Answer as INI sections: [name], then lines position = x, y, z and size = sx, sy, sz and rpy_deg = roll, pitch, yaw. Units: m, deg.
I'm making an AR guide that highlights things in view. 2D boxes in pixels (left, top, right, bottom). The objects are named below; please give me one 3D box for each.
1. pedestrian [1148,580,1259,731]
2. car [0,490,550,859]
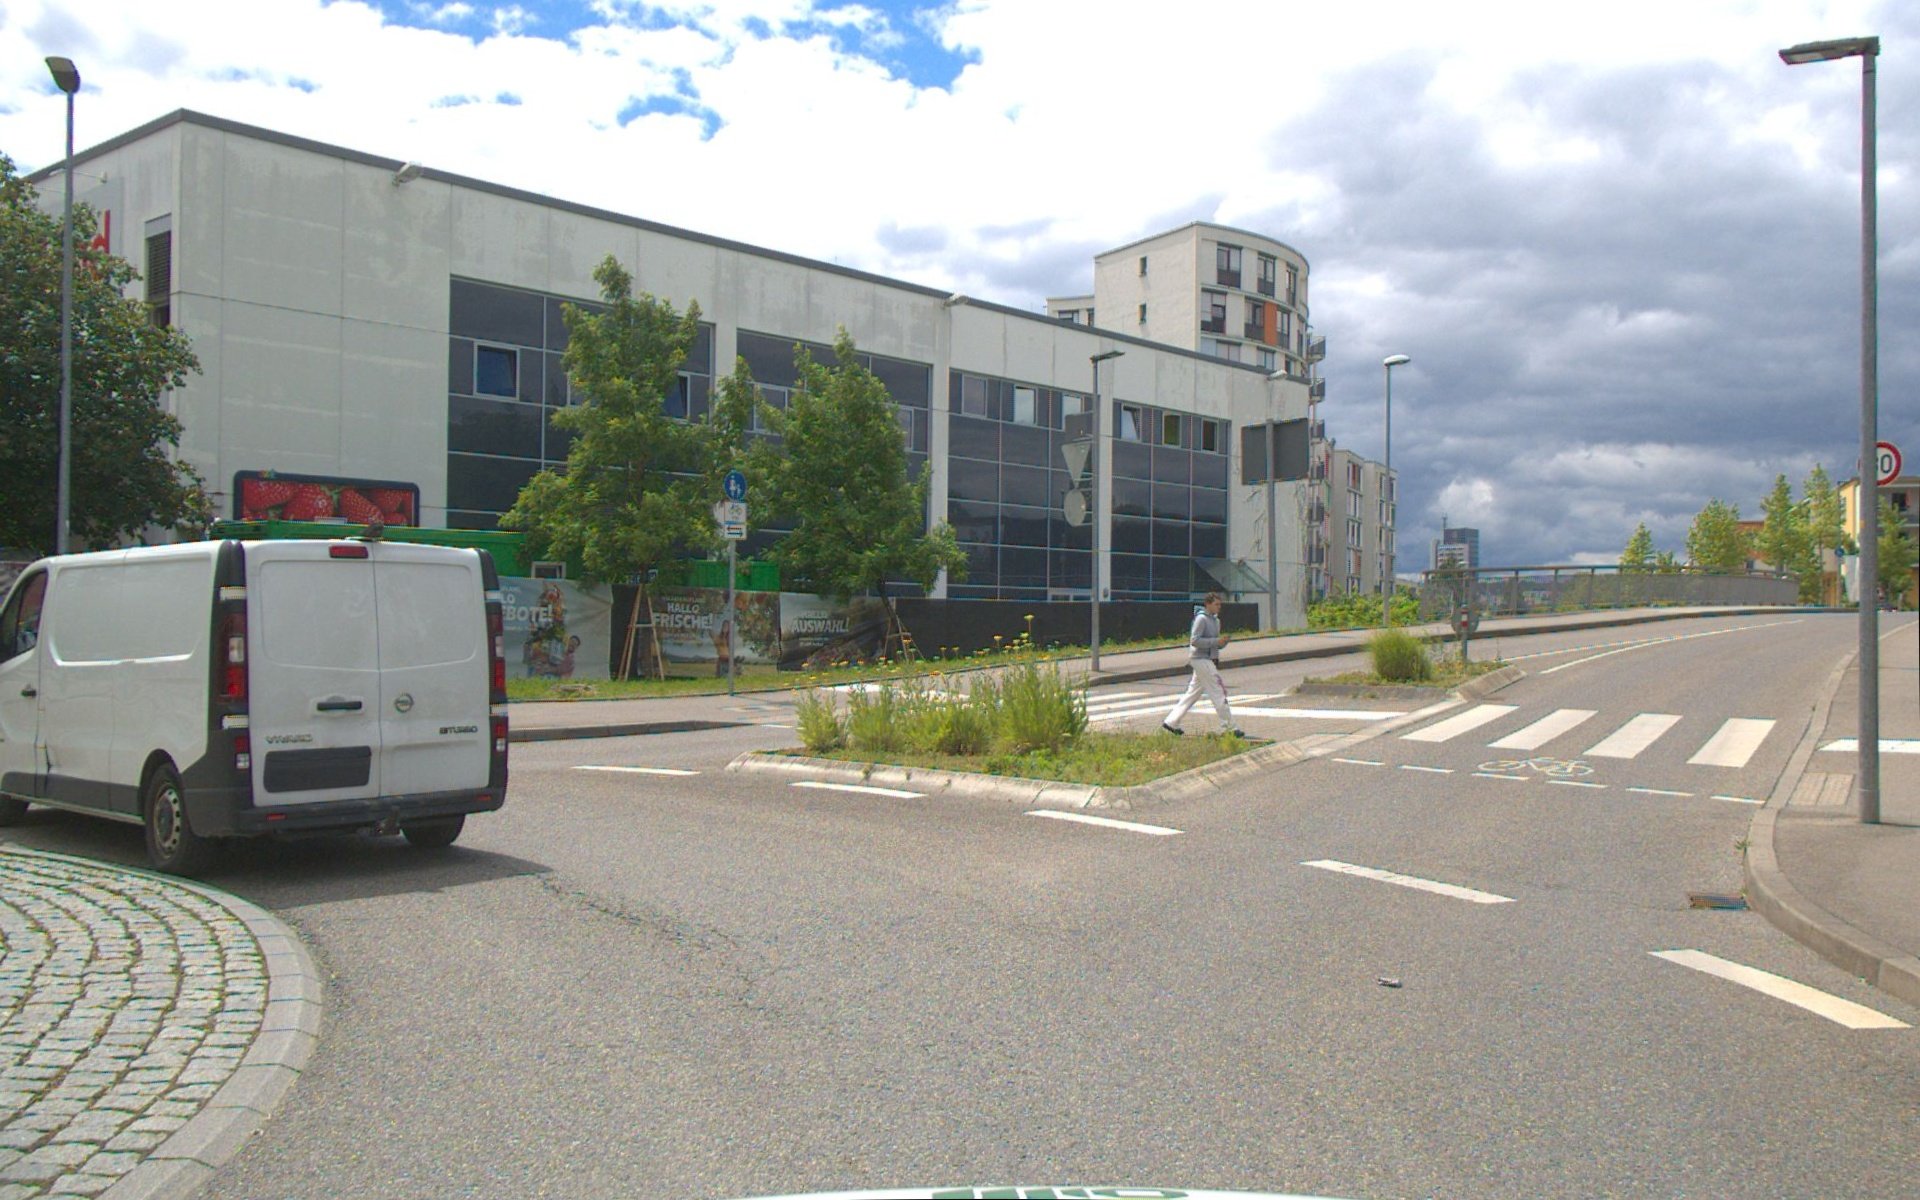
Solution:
[pedestrian]
position = 2.638, 0.602, 17.992
size = 1.013, 1.568, 0.894
rpy_deg = 2, -2, -2
[car]
position = -5.021, 0.439, 11.342
size = 2.026, 1.979, 4.910
rpy_deg = 4, -3, -45
